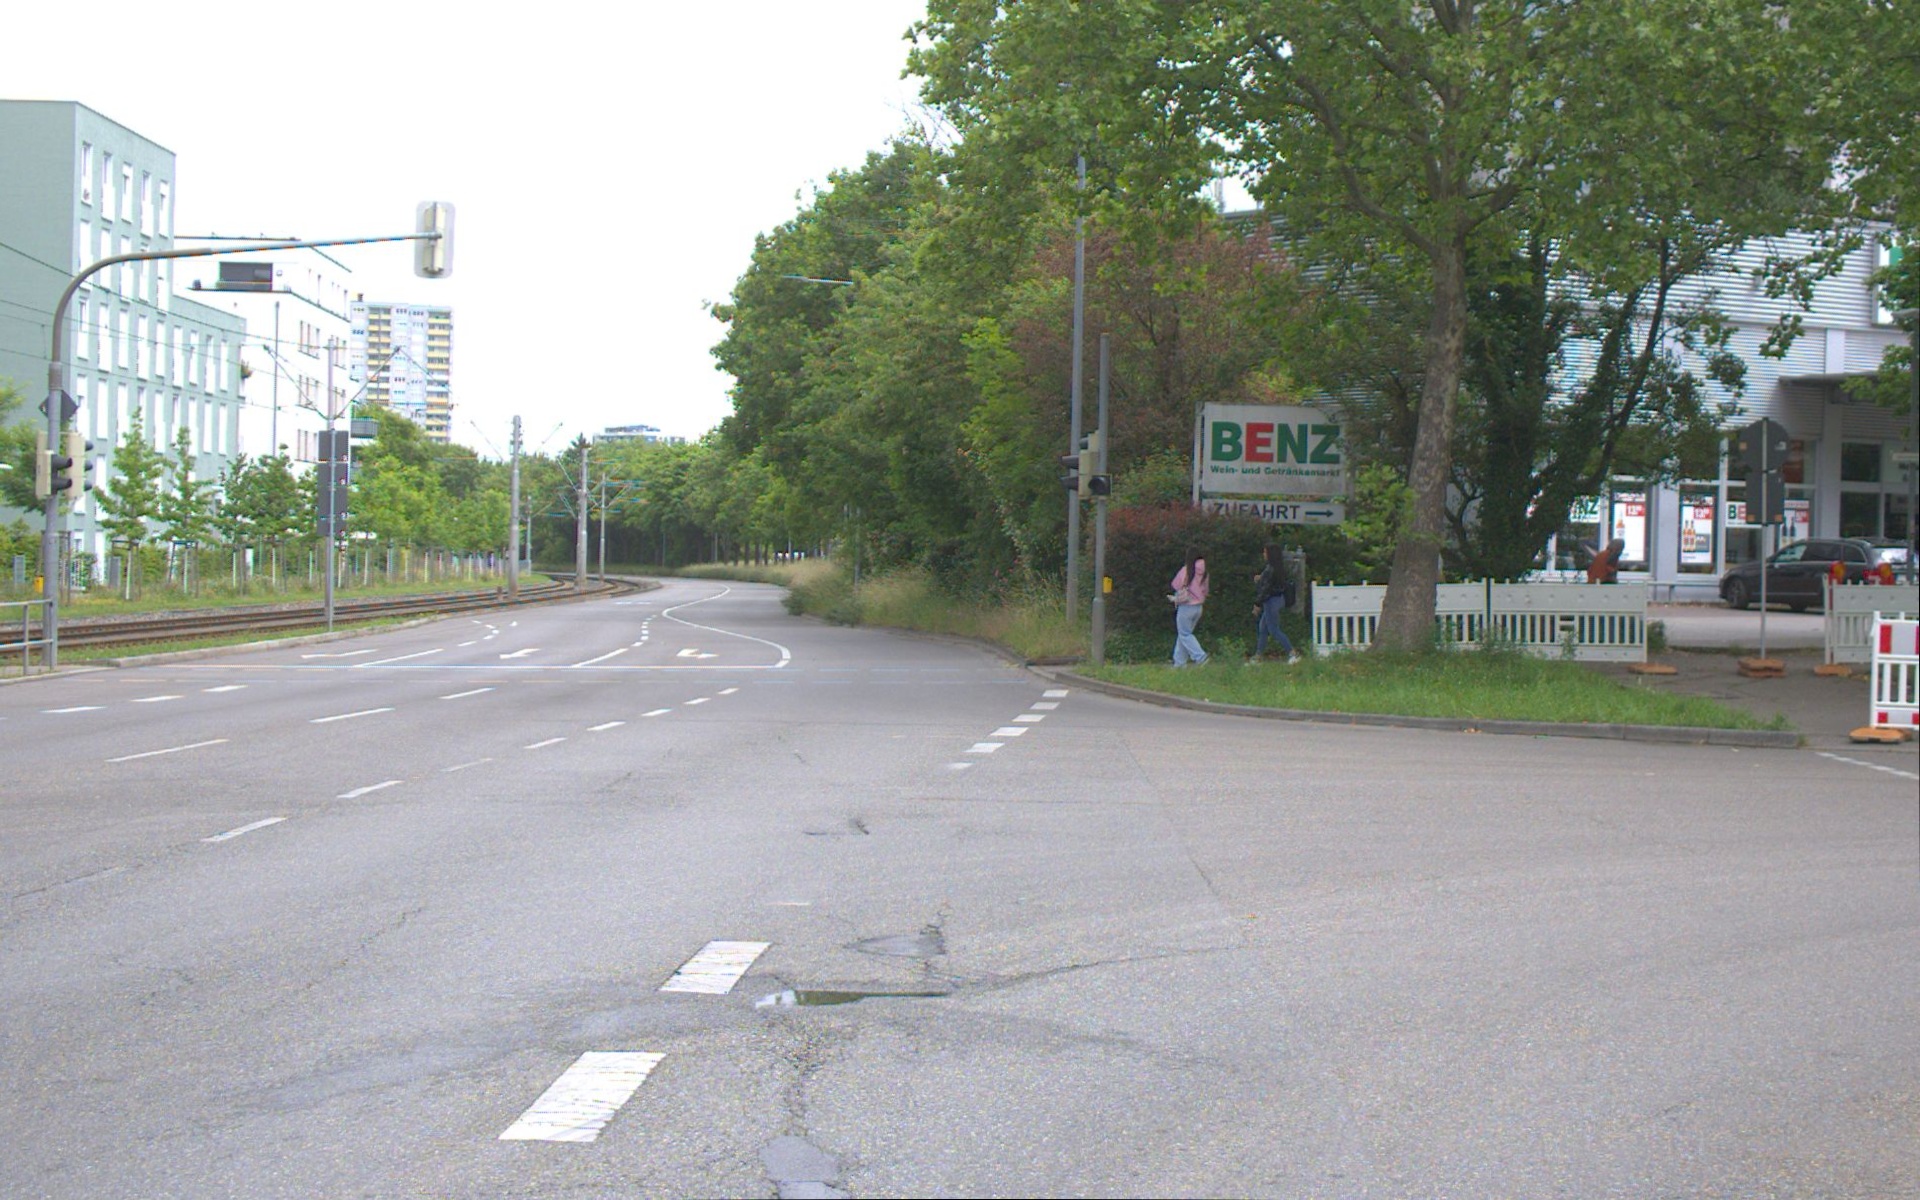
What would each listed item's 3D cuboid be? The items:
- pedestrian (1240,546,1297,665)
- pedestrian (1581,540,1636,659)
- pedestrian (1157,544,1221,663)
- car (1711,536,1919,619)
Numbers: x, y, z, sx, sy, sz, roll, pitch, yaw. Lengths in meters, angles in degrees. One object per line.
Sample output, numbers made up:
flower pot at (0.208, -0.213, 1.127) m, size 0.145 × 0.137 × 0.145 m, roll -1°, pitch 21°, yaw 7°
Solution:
pedestrian at (3.932, 0.071, 43.761) m, size 0.697 × 1.484 × 0.720 m, roll 1°, pitch 0°, yaw 6°
pedestrian at (8.533, -0.005, 45.262) m, size 0.653 × 1.533 × 0.772 m, roll 1°, pitch 0°, yaw 9°
pedestrian at (2.899, 0.045, 43.566) m, size 0.697 × 1.484 × 0.687 m, roll 1°, pitch 0°, yaw 12°
car at (16.269, -0.423, 65.100) m, size 1.728 × 1.495 × 4.269 m, roll 1°, pitch 0°, yaw -25°
